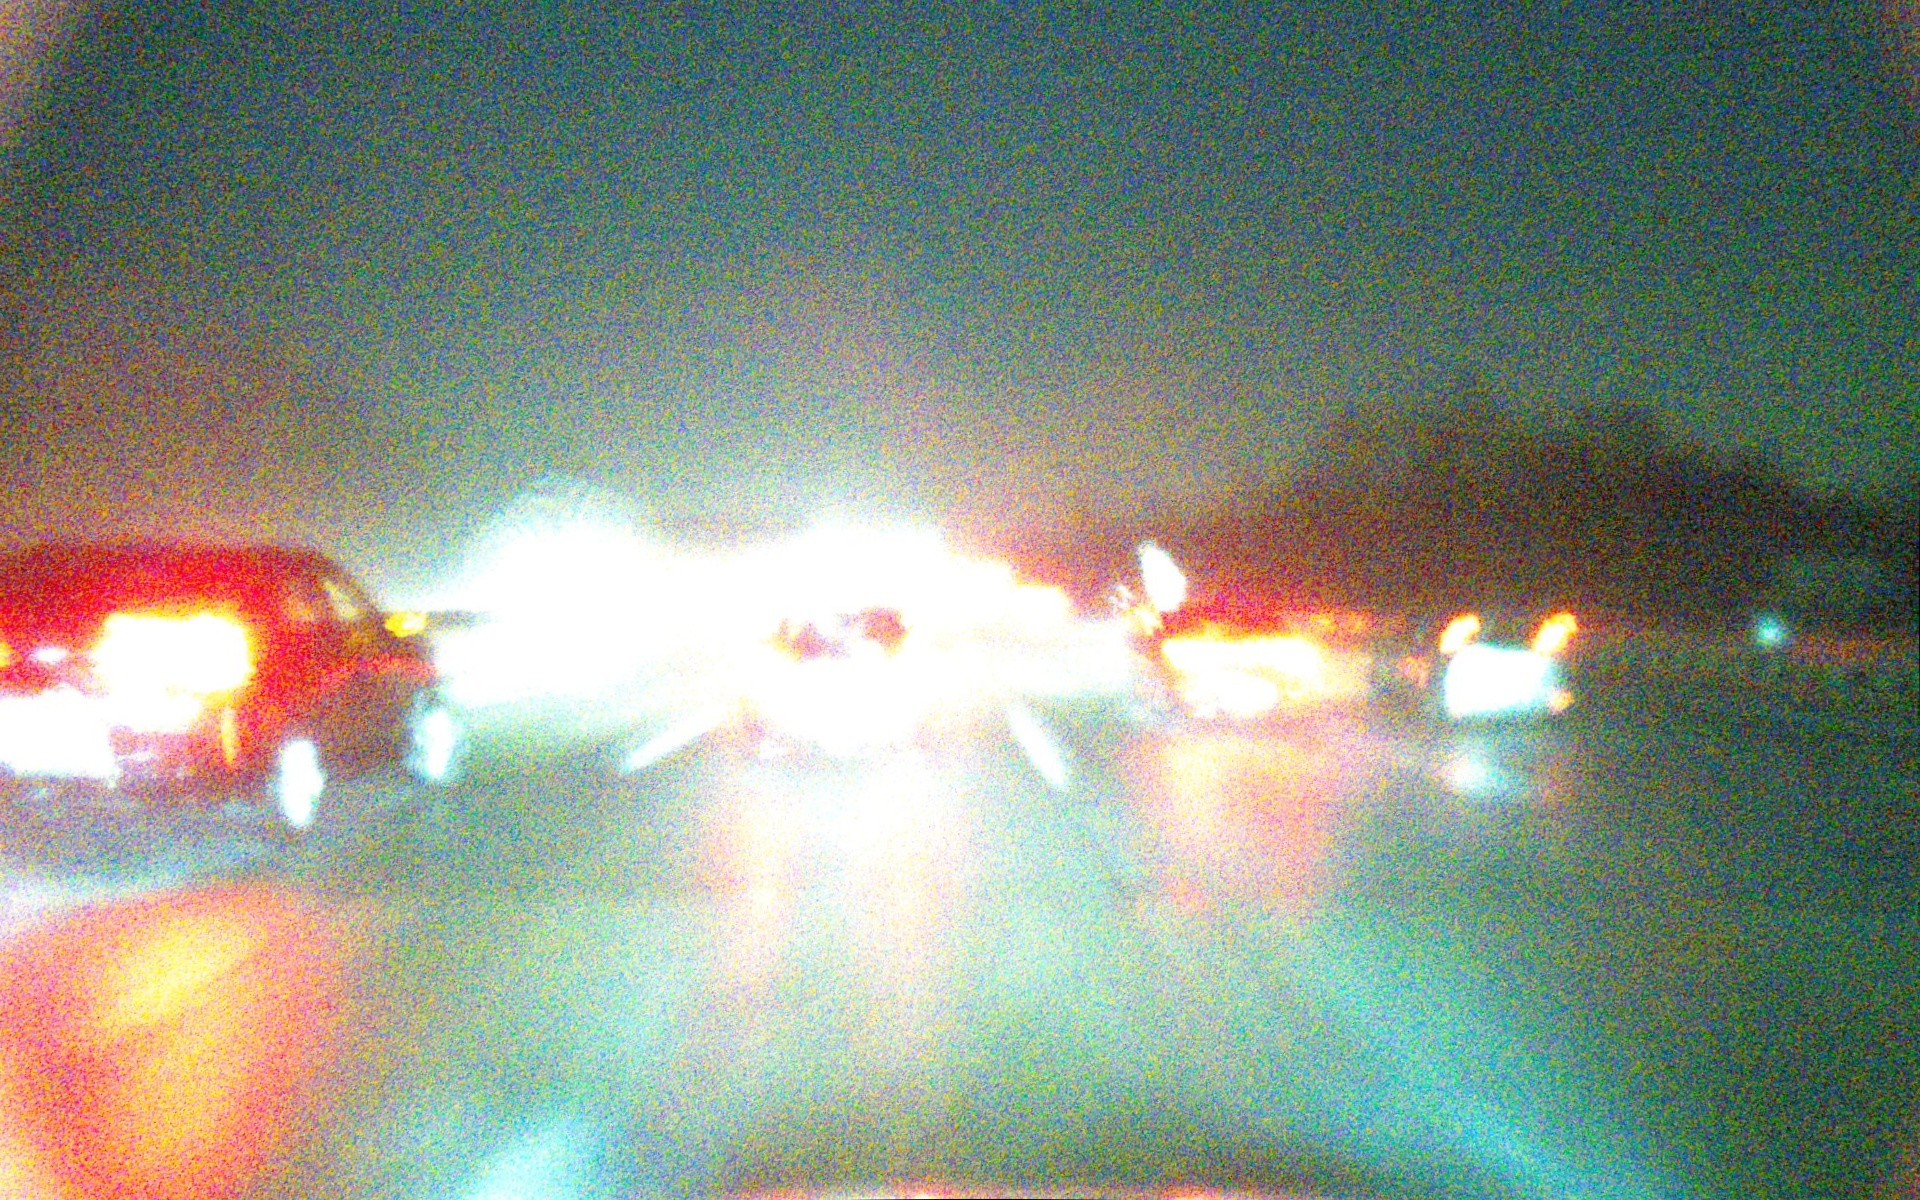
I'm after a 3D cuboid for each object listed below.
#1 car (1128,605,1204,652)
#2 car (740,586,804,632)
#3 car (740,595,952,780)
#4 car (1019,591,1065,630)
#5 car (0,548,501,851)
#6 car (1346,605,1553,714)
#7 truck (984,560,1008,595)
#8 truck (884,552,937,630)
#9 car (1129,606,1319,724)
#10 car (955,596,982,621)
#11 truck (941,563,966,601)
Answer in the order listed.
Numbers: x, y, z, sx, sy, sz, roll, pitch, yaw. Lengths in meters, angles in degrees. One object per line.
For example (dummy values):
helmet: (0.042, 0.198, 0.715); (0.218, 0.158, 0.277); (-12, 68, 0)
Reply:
car: (5.863, 0.792, 47.345); (1.550, 1.268, 3.065); (1, 0, -5)
car: (-5.617, 0.263, 49.668); (1.629, 1.258, 3.759); (-3, 0, -3)
car: (-1.002, 0.732, 15.922); (1.765, 1.513, 3.999); (1, 0, -1)
car: (3.599, 0.428, 72.856); (1.825, 1.646, 4.000); (1, 0, 0)
car: (-4.568, 0.542, 10.942); (1.820, 1.568, 4.749); (0, -1, -1)
car: (6.277, 0.727, 21.499); (1.550, 1.268, 3.065); (1, 0, -5)
truck: (3.339, -2.107, 154.986); (1.953, 3.095, 6.465); (-3, 0, 0)
truck: (-2.081, -0.364, 70.943); (1.953, 3.095, 6.465); (-3, 0, 0)
car: (3.111, 0.735, 20.015); (1.550, 1.268, 3.065); (1, 0, -5)
car: (0.592, 0.570, 115.812); (1.825, 1.646, 4.000); (1, 0, 0)
truck: (-0.512, -1.521, 140.696); (1.953, 3.095, 6.465); (-3, 0, 0)
